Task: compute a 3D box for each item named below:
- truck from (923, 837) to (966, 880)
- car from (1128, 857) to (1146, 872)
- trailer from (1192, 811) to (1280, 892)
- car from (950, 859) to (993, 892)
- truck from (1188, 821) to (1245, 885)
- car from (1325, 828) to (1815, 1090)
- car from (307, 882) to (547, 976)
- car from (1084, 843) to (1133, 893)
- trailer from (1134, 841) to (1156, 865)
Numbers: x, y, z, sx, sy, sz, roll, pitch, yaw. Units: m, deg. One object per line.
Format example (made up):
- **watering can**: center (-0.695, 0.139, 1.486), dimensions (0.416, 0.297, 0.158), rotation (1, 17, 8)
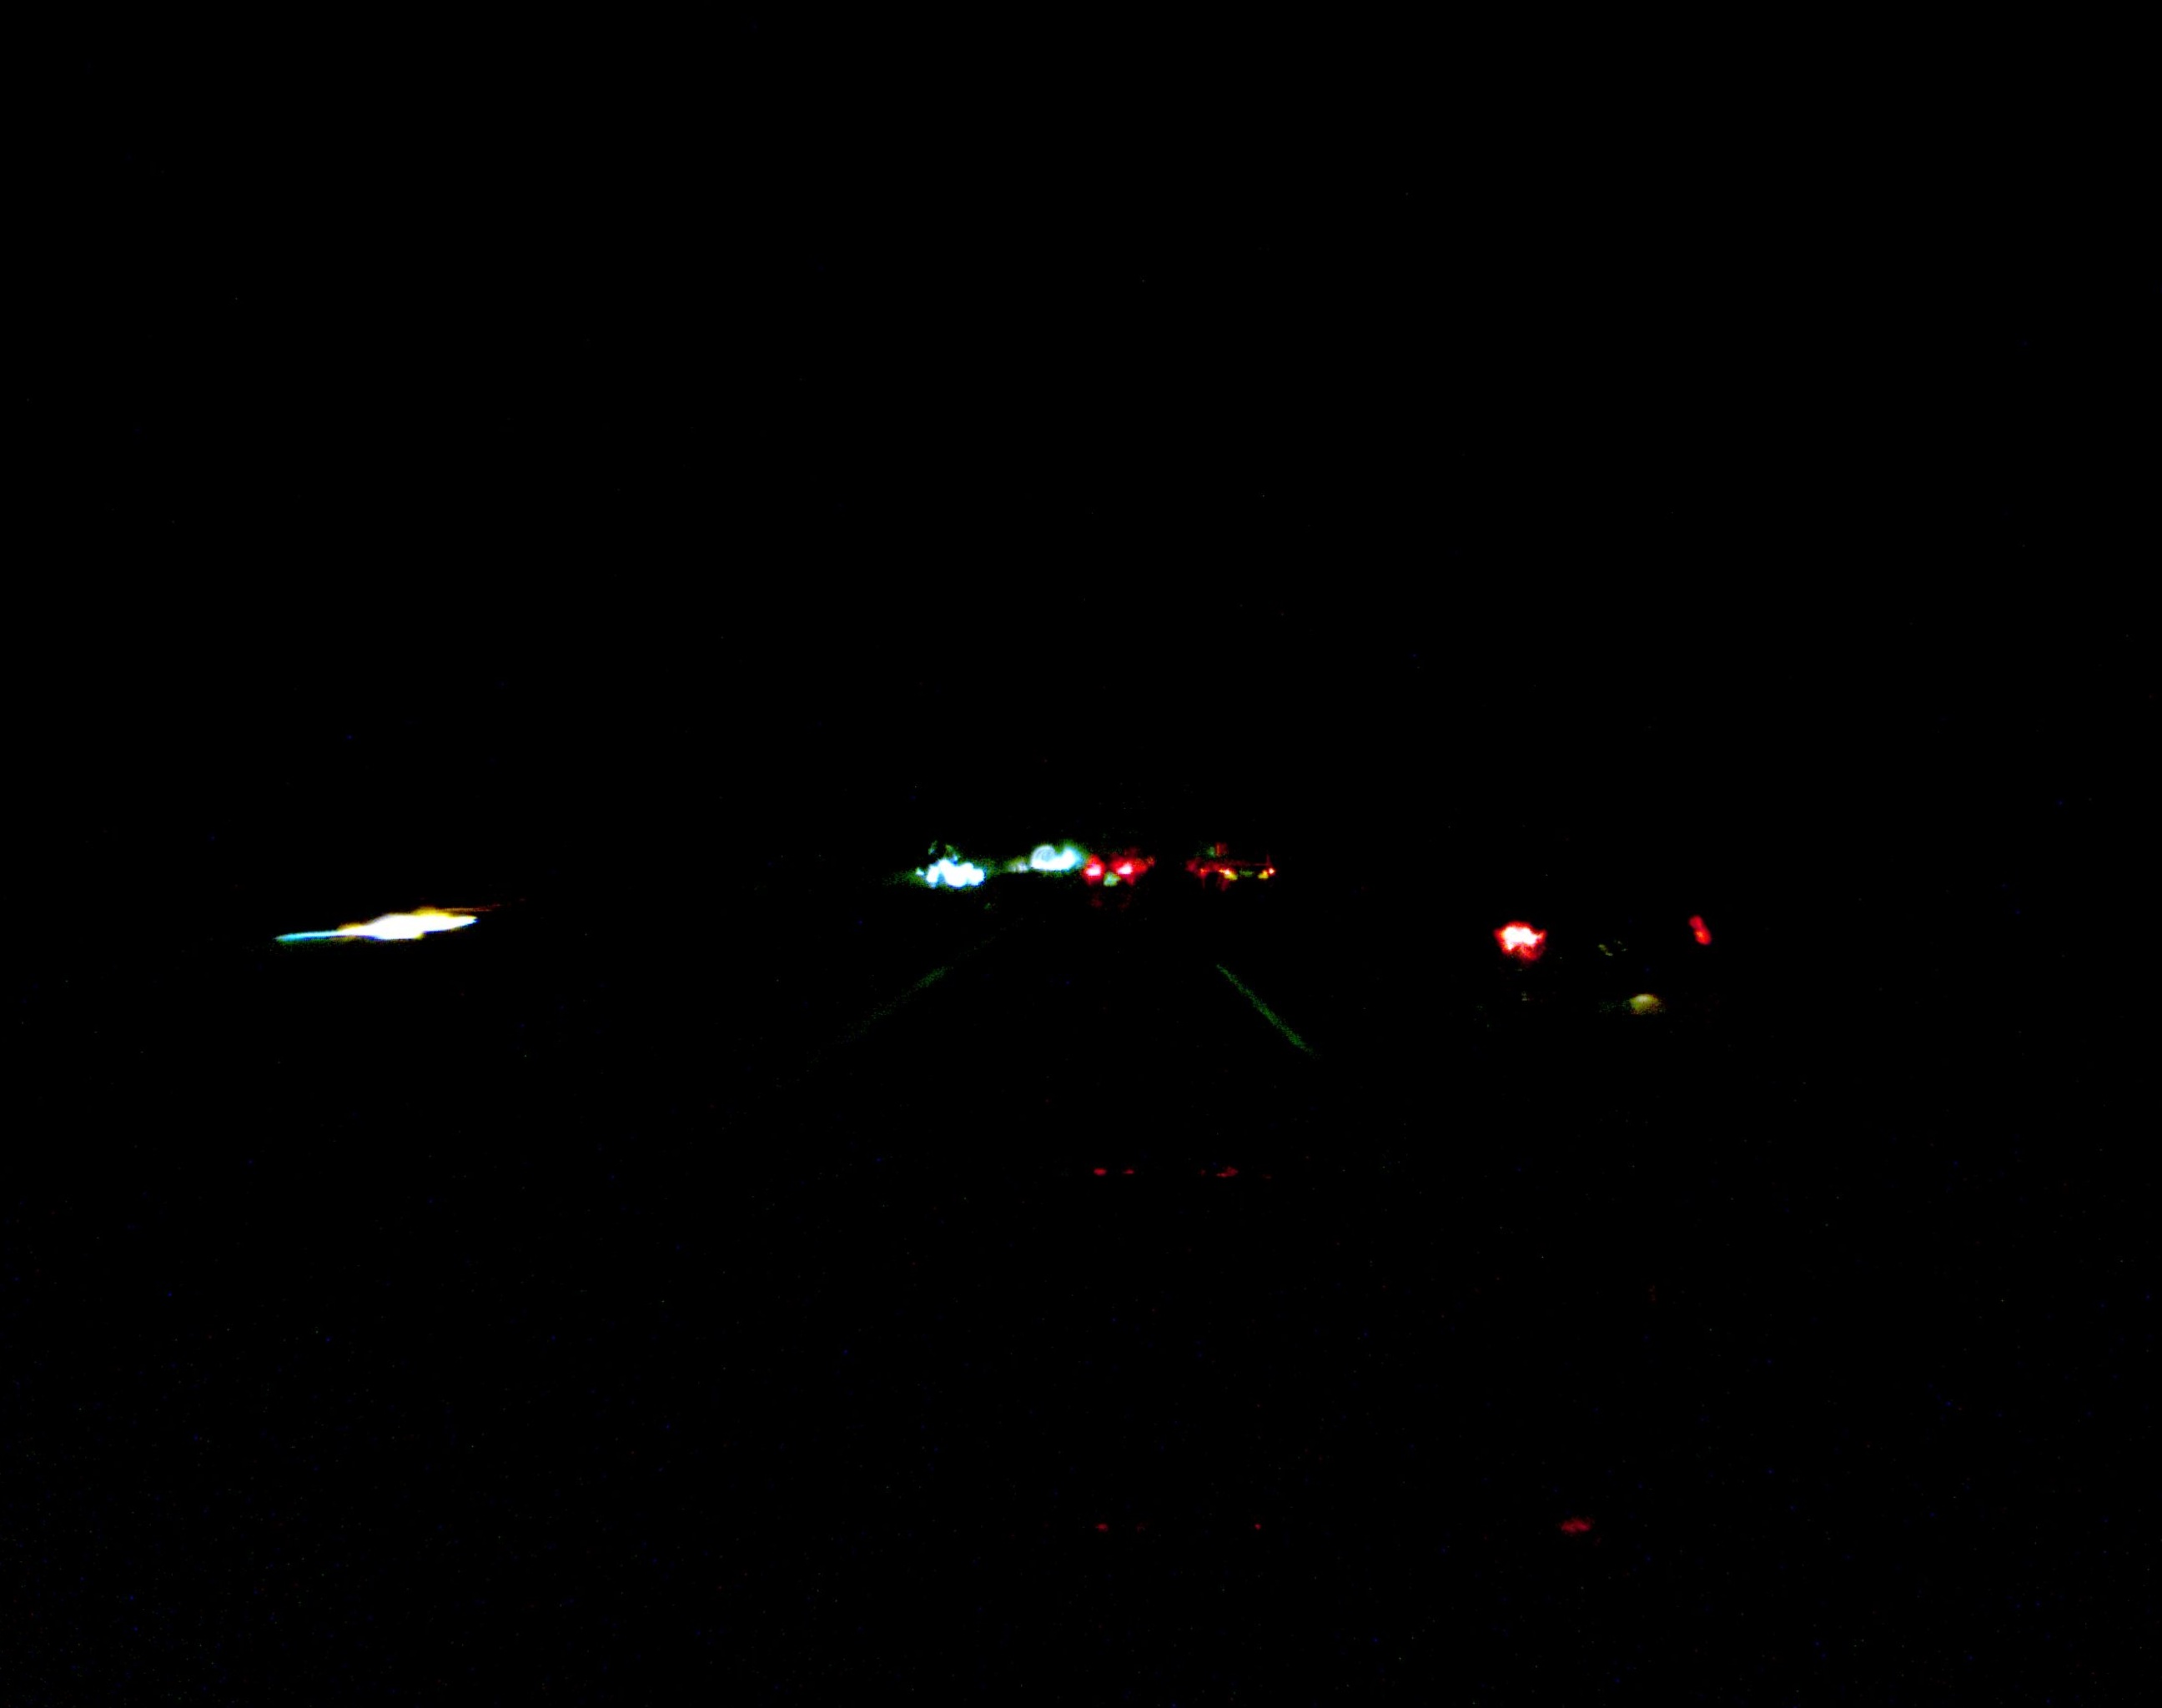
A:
- **truck**: center (-14.121, 0.484, 84.791), dimensions (2.962, 4.268, 6.507), rotation (2, -1, 2)
- **car**: center (7.612, 1.449, 111.881), dimensions (1.988, 2.014, 3.997), rotation (-4, -1, -2)
- **trailer**: center (9.133, -0.064, 50.067), dimensions (2.892, 4.108, 14.492), rotation (-3, -1, 2)
- **car**: center (-7.108, 1.365, 53.322), dimensions (1.986, 2.013, 4.452), rotation (-2, 0, 2)
- **truck**: center (9.318, -0.033, 56.545), dimensions (2.892, 4.108, 6.032), rotation (-3, -1, 1)
- **car**: center (3.704, 0.684, 7.303), dimensions (1.734, 1.575, 4.495), rotation (-2, -1, 1)
- **car**: center (-15.613, 1.699, 19.860), dimensions (1.986, 1.759, 4.592), rotation (-3, 0, 2)
- **car**: center (1.186, 0.621, 35.279), dimensions (1.986, 2.014, 4.001), rotation (-1, -1, 1)
- **trailer**: center (12.287, -0.117, 158.106), dimensions (3.031, 4.109, 13.826), rotation (-4, -1, 0)
